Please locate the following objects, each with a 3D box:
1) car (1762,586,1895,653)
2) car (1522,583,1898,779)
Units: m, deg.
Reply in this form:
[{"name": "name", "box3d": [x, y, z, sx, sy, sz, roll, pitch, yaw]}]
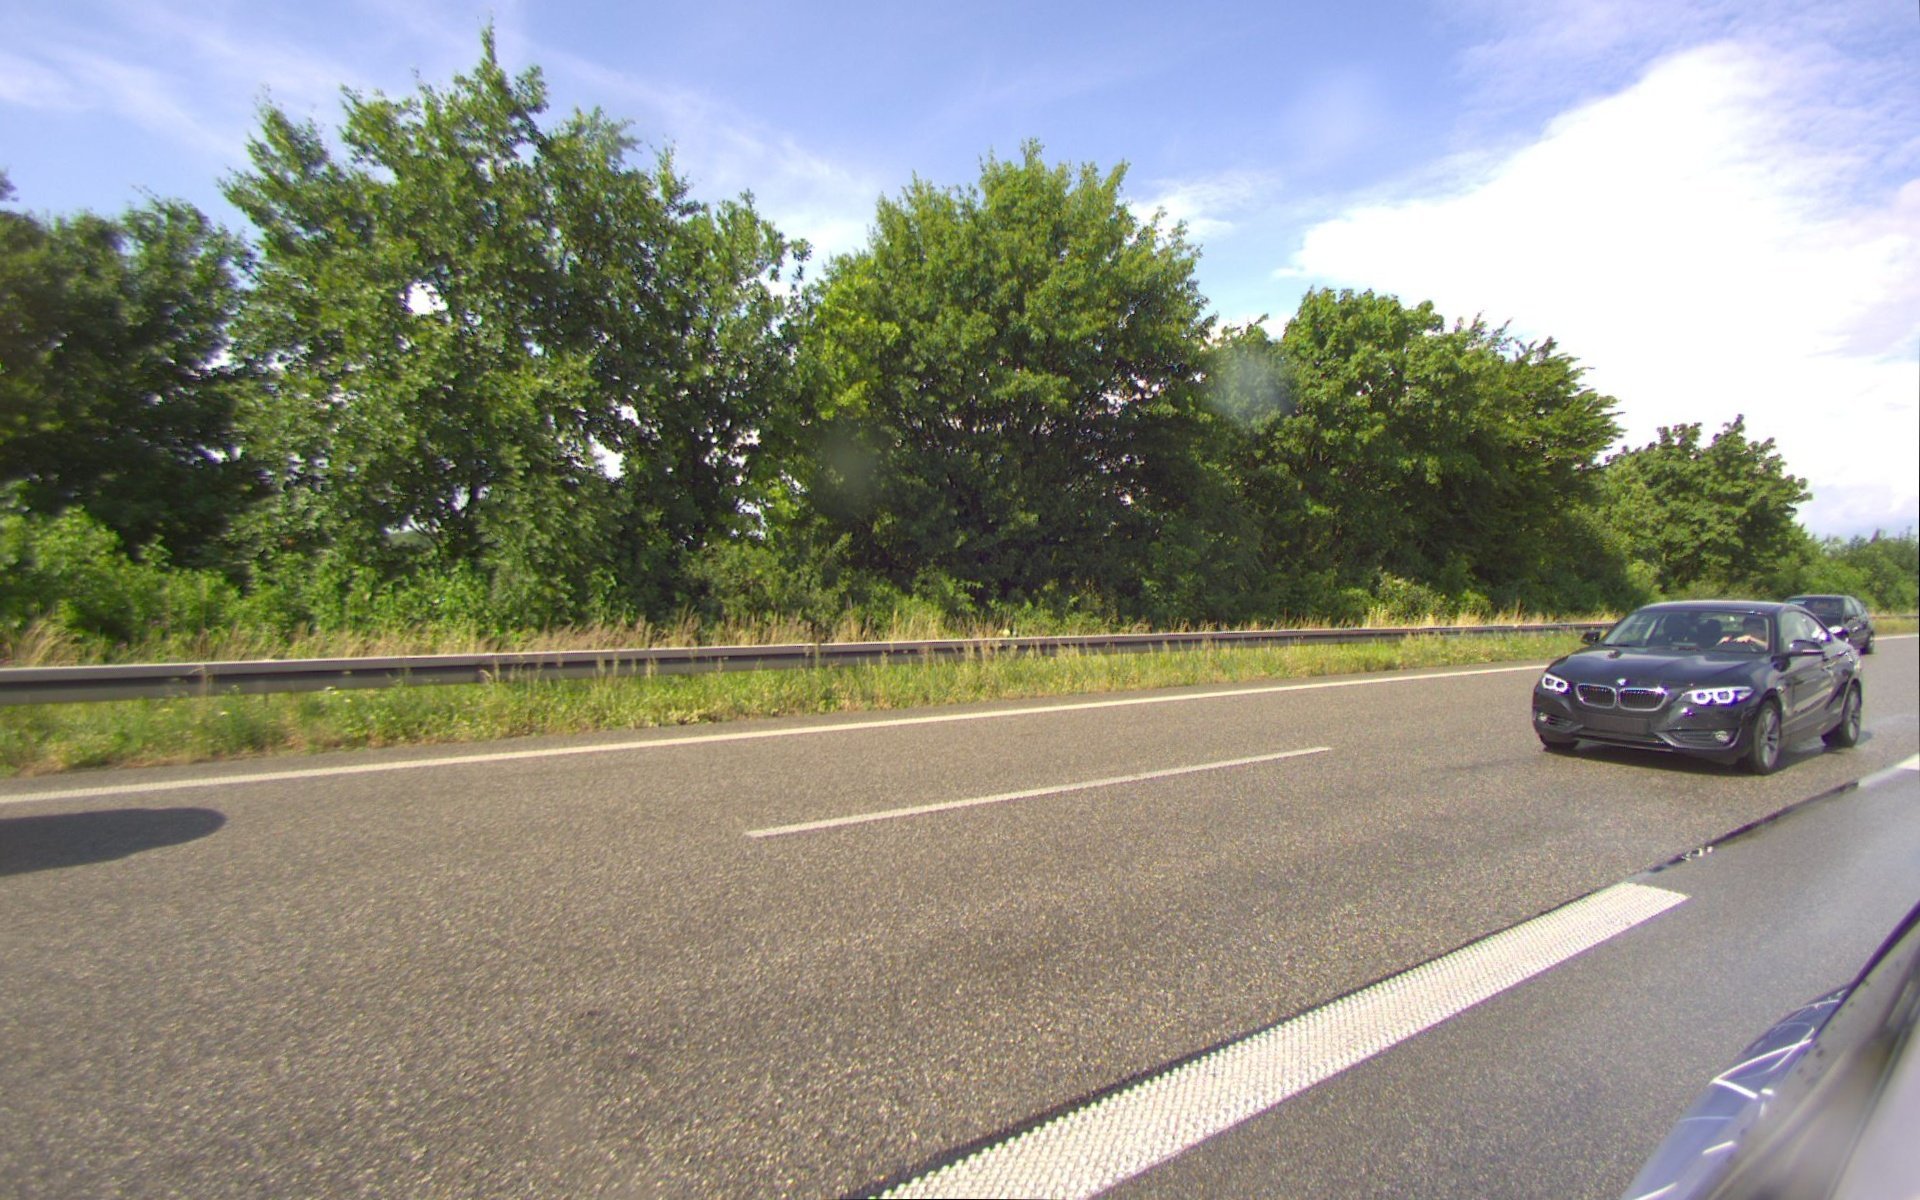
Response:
[{"name": "car", "box3d": [22.703, 0.449, 26.421, 3.927, 1.588, 1.854, -1, 2, -38]}, {"name": "car", "box3d": [7.366, 0.592, 9.806, 4.177, 1.482, 1.854, -1, 2, -38]}]
